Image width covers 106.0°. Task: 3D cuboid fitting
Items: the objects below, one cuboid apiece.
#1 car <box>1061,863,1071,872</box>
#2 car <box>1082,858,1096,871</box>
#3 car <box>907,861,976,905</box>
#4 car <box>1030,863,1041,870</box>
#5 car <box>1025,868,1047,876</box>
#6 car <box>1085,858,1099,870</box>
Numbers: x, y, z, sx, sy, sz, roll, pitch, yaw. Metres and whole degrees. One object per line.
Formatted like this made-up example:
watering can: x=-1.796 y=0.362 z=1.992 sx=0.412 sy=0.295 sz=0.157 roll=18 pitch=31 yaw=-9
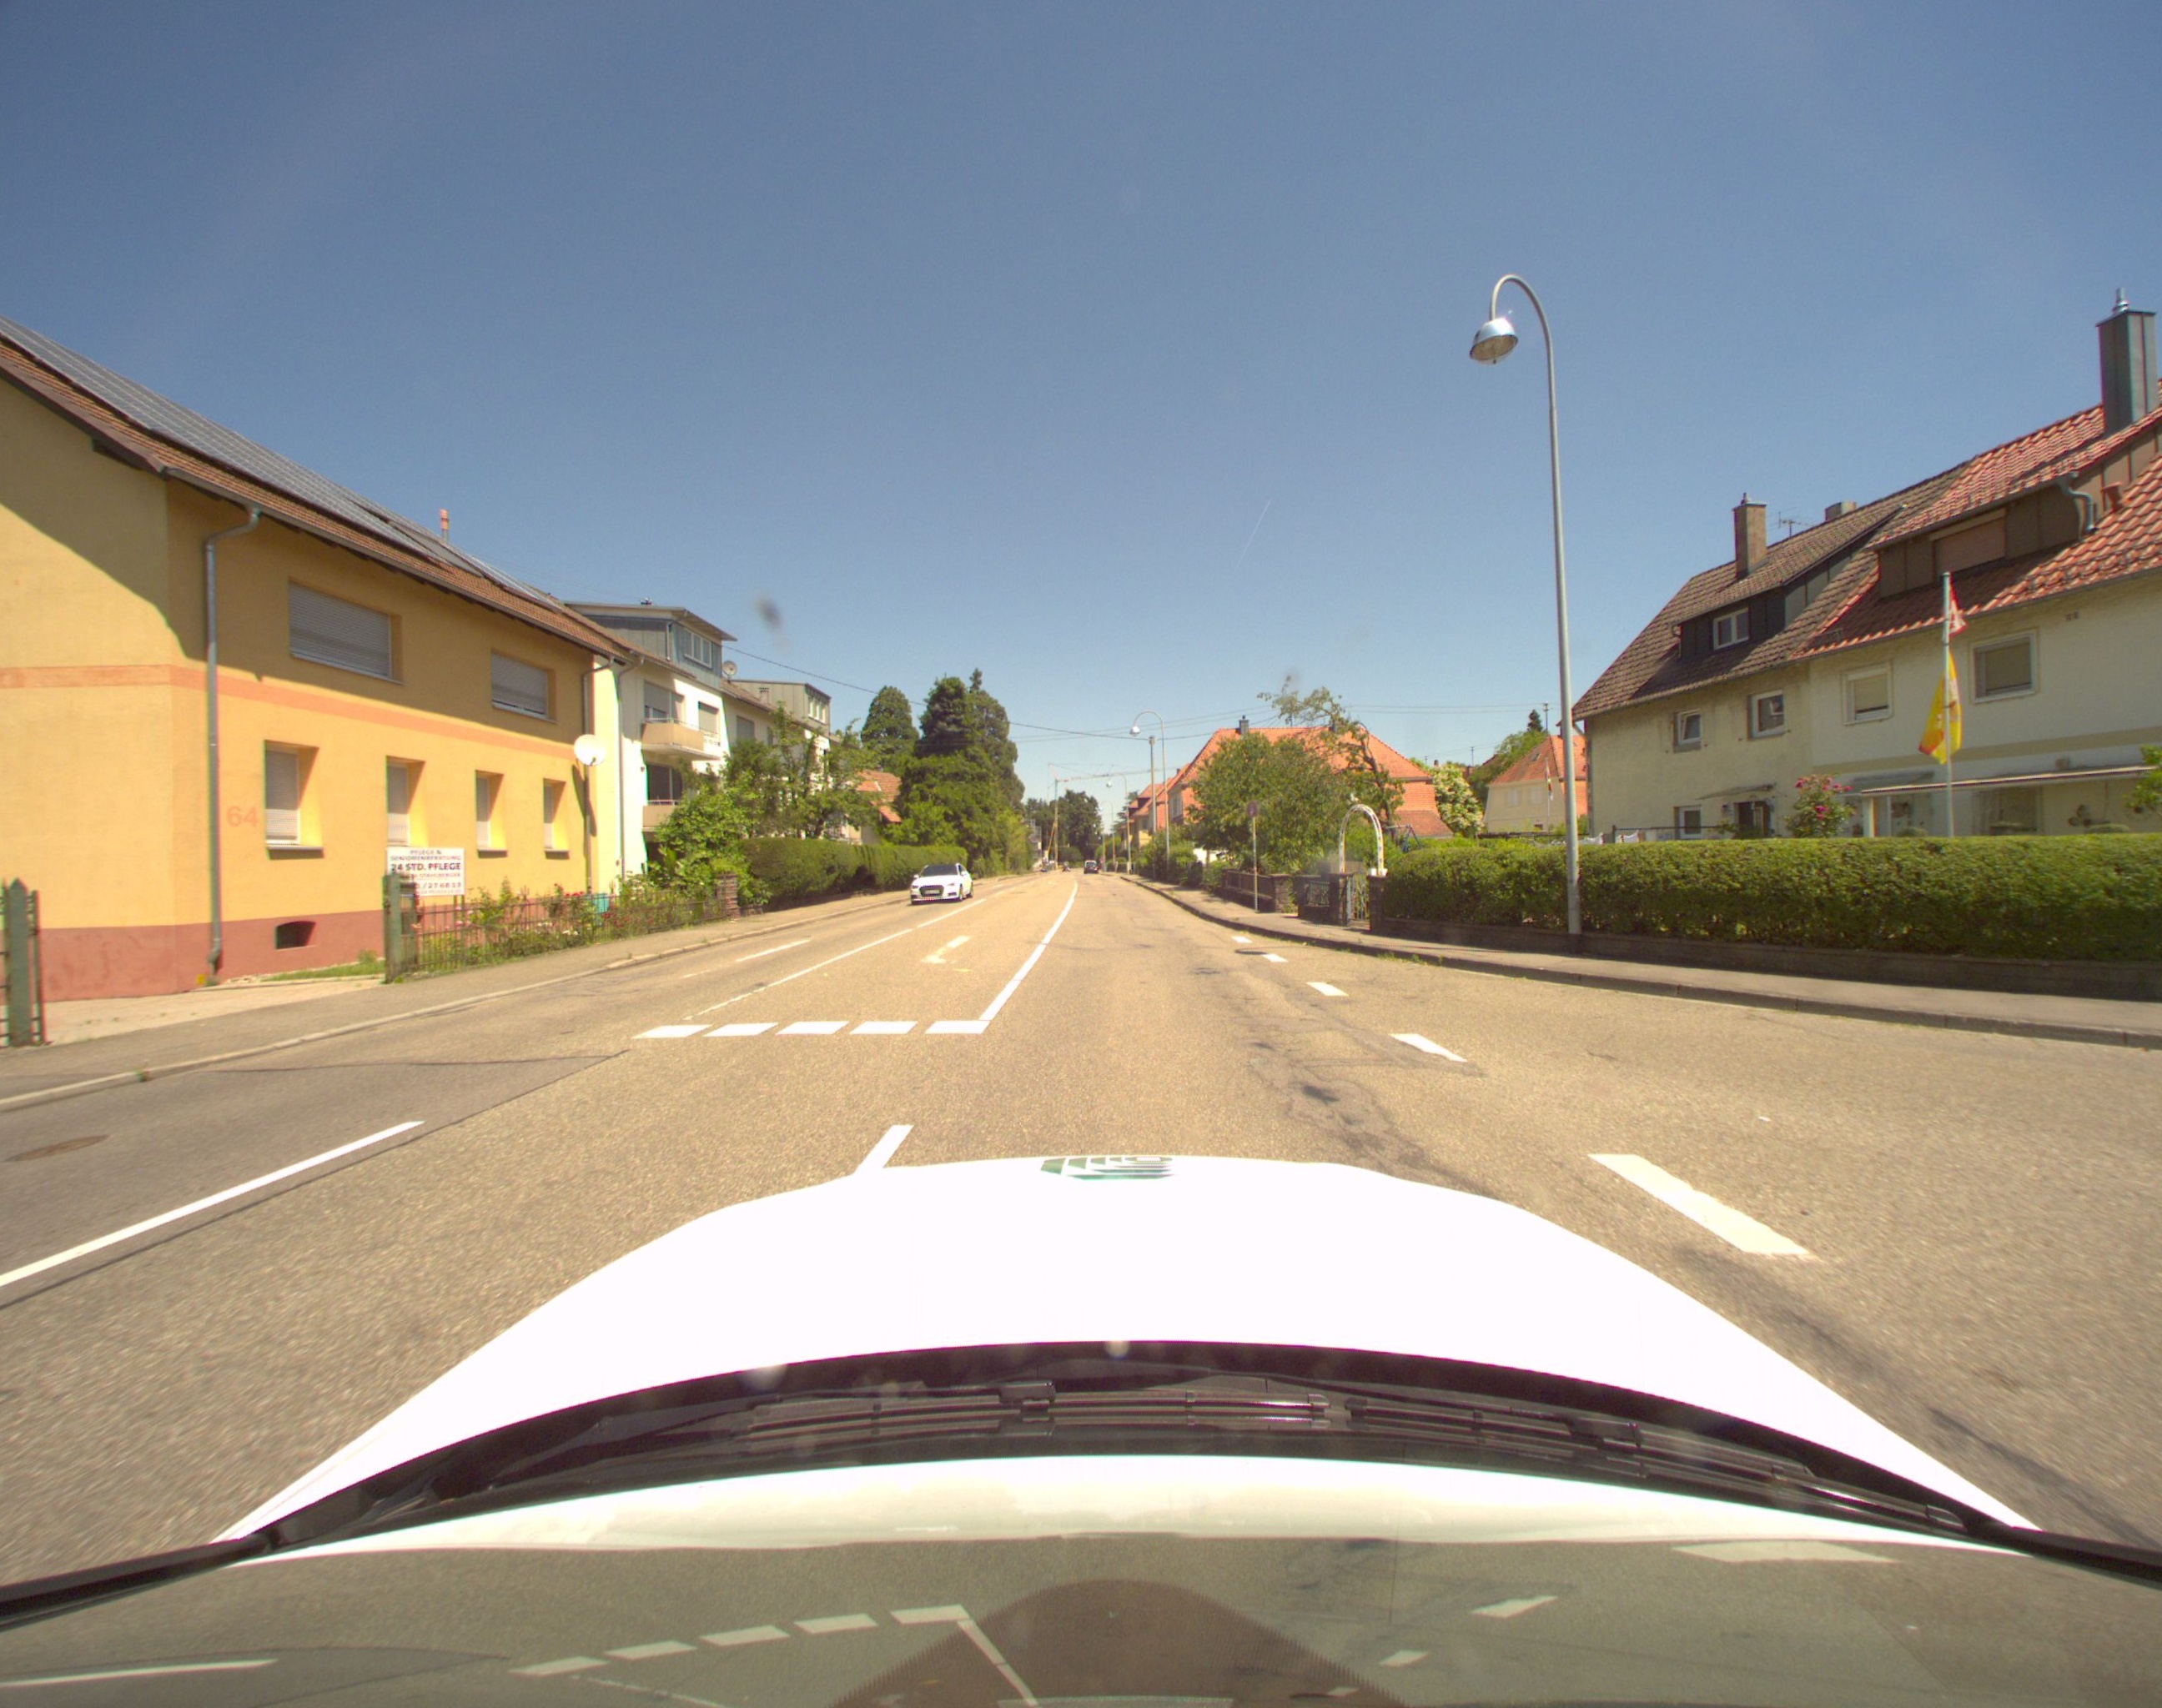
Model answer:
car: x=-3.332 y=3.041 z=183.900 sx=1.986 sy=1.850 sz=4.713 roll=-1 pitch=1 yaw=2
car: x=1.169 y=1.667 z=124.021 sx=1.987 sy=1.901 sz=4.820 roll=1 pitch=-1 yaw=0
car: x=-5.056 y=1.010 z=30.068 sx=1.674 sy=1.372 sz=4.207 roll=-3 pitch=0 yaw=1
car: x=-8.984 y=2.458 z=161.265 sx=1.651 sy=1.389 sz=3.540 roll=-2 pitch=-1 yaw=6
car: x=-9.340 y=3.811 z=169.806 sx=3.959 sy=1.468 sz=1.972 roll=-3 pitch=0 yaw=13
car: x=1.416 y=1.315 z=104.356 sx=1.688 sy=1.419 sz=4.548 roll=-1 pitch=-2 yaw=-1
